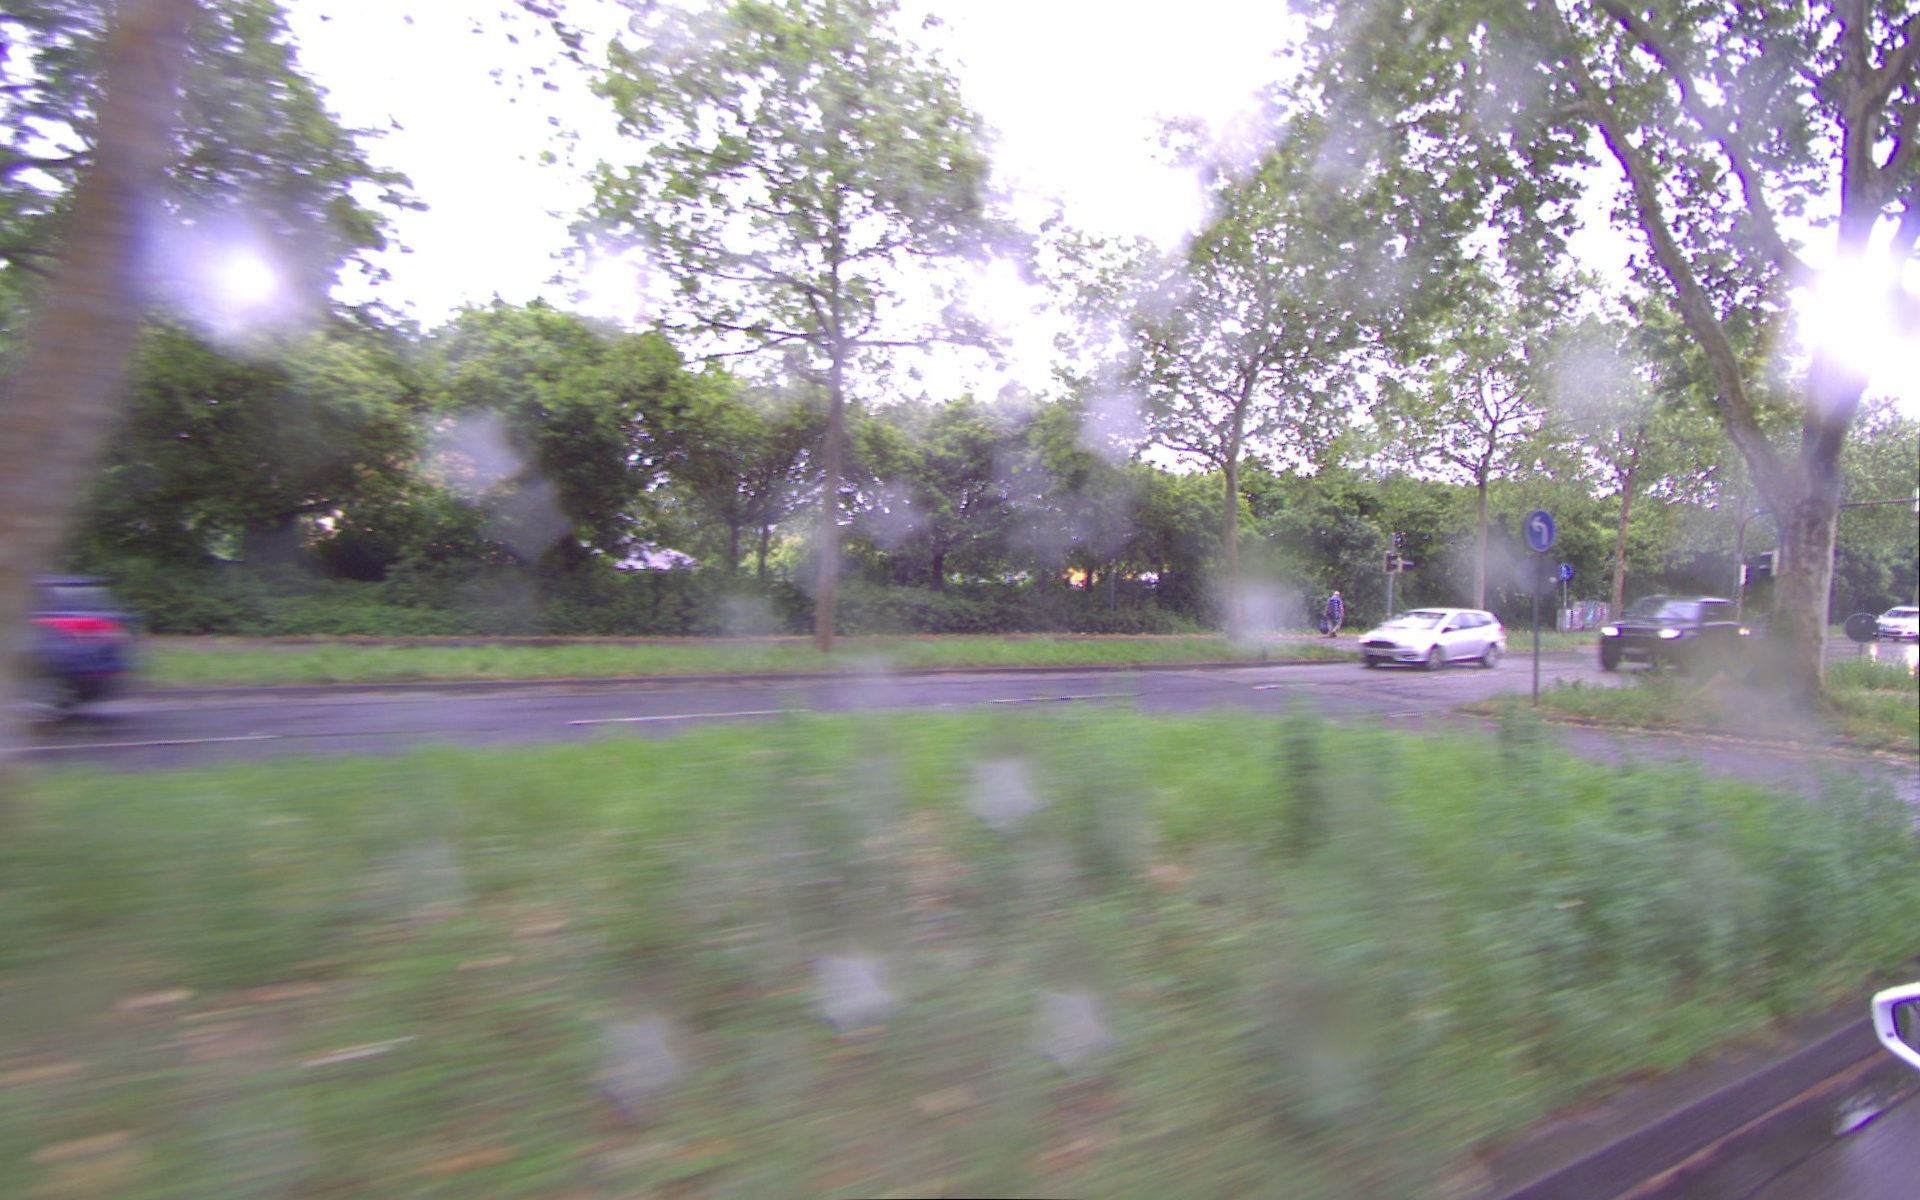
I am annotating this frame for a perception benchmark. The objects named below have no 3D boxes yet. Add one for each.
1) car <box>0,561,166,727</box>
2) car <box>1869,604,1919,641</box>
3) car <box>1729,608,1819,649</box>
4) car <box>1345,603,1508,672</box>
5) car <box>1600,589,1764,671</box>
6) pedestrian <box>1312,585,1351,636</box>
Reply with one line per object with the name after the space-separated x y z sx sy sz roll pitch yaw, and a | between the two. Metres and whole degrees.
-10.716 0.388 10.051 4.165 1.612 1.733 1 1 -33 | car
45.638 1.090 48.397 4.399 1.653 1.732 1 1 -34 | car
32.896 1.103 40.550 4.401 1.458 1.731 -1 3 -36 | car
11.617 0.904 24.928 4.191 1.496 1.732 1 1 -34 | car
18.488 0.755 25.631 5.068 1.866 1.732 1 1 -35 | car
12.772 0.355 34.518 0.890 1.696 0.825 1 2 -34 | pedestrian
